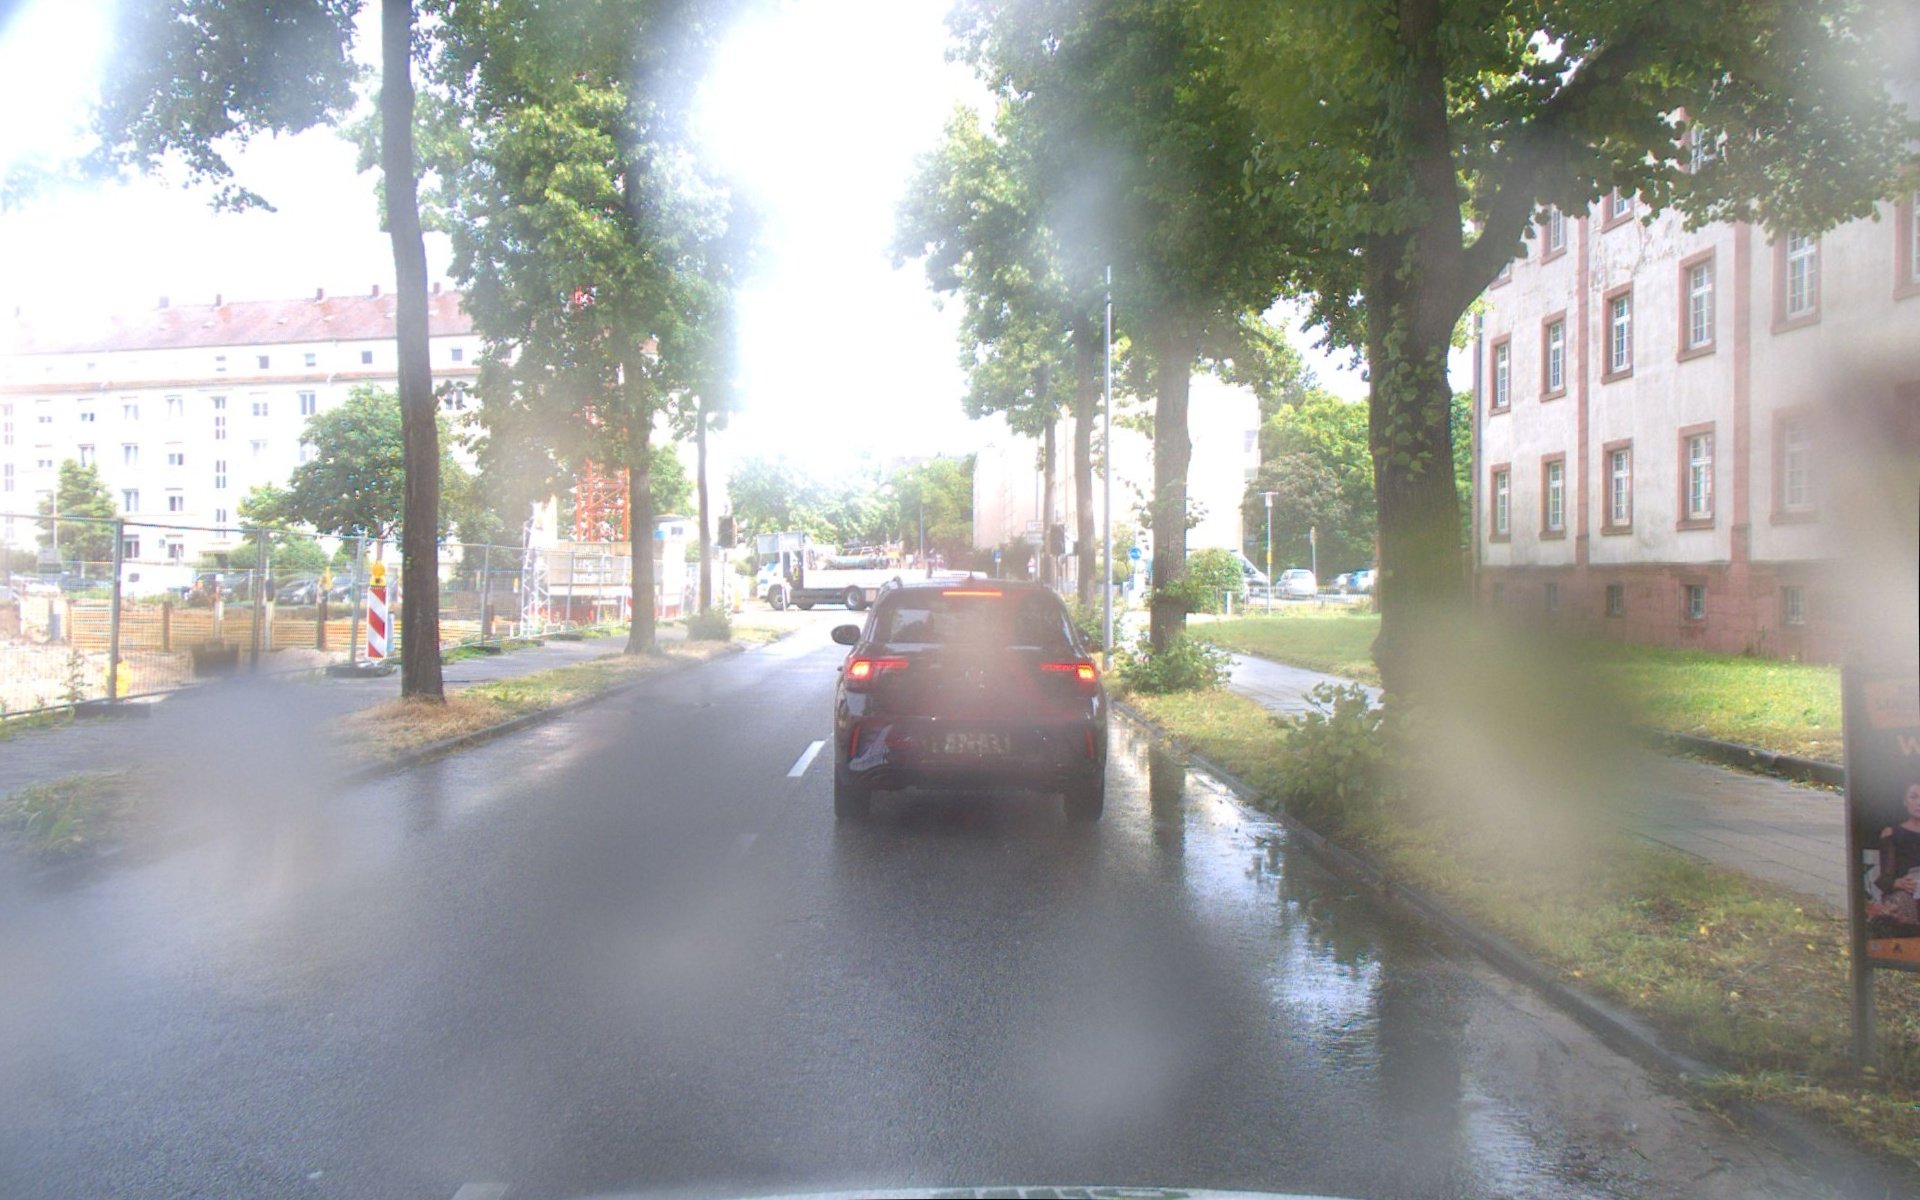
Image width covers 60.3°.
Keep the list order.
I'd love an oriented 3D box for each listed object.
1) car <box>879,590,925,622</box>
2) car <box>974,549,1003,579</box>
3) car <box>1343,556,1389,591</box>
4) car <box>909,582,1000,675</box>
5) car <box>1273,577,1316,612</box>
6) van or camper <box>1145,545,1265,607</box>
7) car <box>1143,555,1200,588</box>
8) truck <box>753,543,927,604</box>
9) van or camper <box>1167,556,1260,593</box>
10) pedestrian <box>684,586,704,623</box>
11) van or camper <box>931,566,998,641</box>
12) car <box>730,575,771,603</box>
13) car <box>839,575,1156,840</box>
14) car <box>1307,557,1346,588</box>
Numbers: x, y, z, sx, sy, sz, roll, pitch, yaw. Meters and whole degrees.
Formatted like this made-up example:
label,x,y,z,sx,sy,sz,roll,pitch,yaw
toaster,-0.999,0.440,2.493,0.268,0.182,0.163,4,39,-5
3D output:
label,x,y,z,sx,sy,sz,roll,pitch,yaw
car,-3.407,0.347,98.177,1.717,1.679,3.939,-3,1,13
car,1.995,-2.569,118.508,1.953,2.049,3.999,0,0,-1
car,25.298,-1.638,103.199,1.952,2.048,4.002,-3,1,3
car,-0.059,0.551,34.100,1.645,1.738,3.911,-2,0,2
car,17.527,-0.292,86.765,1.706,1.713,3.873,-3,1,5
van or camper,10.791,-1.061,73.114,4.931,2.641,2.167,-1,0,-2
car,12.871,-1.730,100.450,3.335,1.812,1.761,-3,0,8
truck,-5.684,-1.281,77.684,8.066,2.703,2.807,2,2,32
van or camper,13.836,-1.427,90.532,4.775,1.959,2.131,1,1,0
pedestrian,-10.978,0.197,68.309,0.652,1.511,0.667,0,1,-25
van or camper,0.157,0.053,46.613,1.782,1.981,4.195,1,1,1
car,-12.202,-0.651,96.568,1.557,1.538,3.734,-3,1,5
car,0.189,0.607,11.757,1.856,1.549,3.999,1,1,-1
car,23.917,-1.771,108.000,1.828,1.889,3.811,-3,1,3
